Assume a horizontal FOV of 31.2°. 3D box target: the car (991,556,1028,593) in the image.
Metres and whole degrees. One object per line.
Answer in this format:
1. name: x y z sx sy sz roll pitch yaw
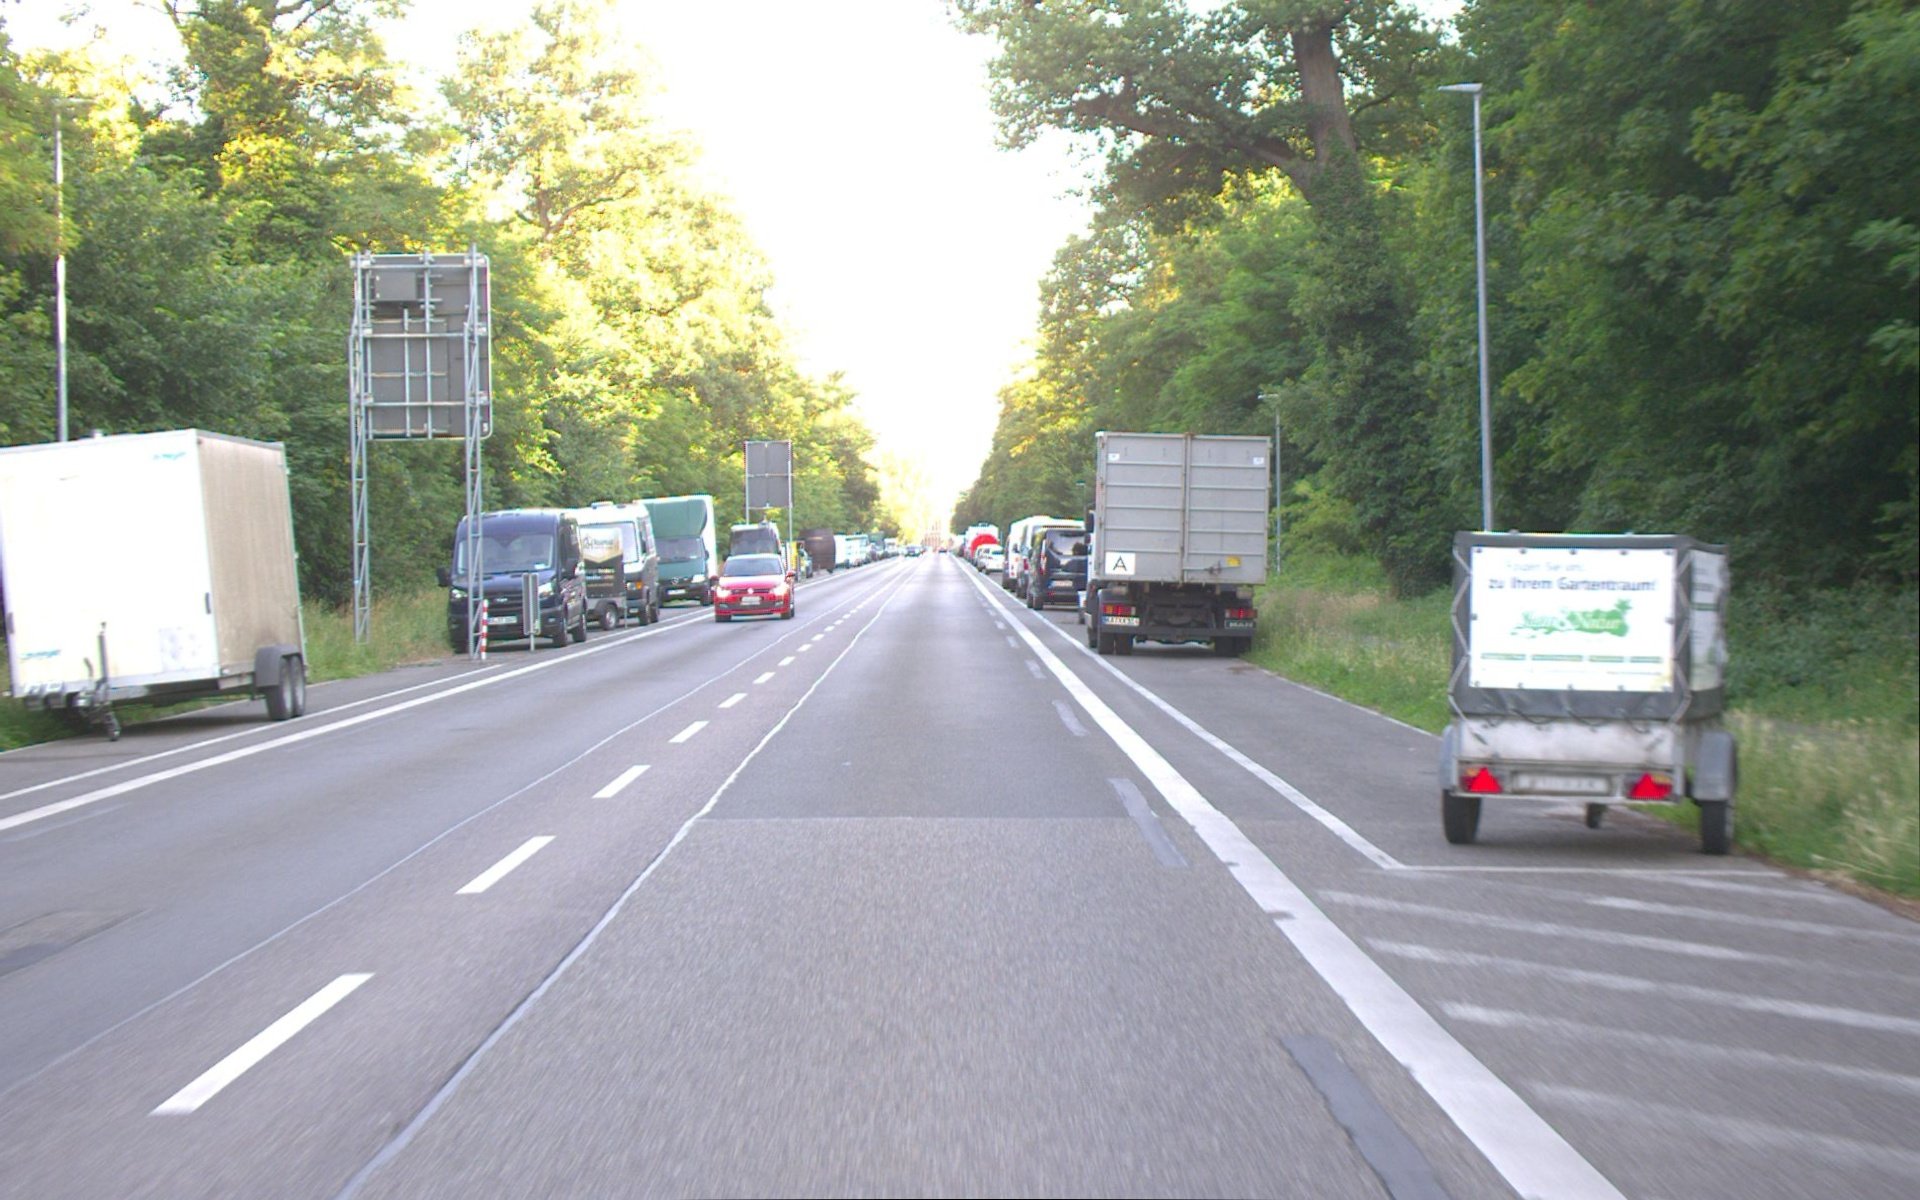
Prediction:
1. car: 1.777 -0.922 123.330 1.147 1.247 2.754 -2 1 -3

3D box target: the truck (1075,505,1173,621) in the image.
1. truck: 3.318 -0.761 70.234 1.885 2.276 4.299 0 1 2

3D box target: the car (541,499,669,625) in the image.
1. car: -7.900 -0.871 77.119 2.249 2.638 5.722 -2 1 0

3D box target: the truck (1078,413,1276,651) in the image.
1. truck: 3.102 -0.977 50.822 2.589 3.244 7.220 0 1 1

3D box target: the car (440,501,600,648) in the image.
1. car: -7.696 -0.482 60.695 1.993 2.356 5.766 -3 1 0

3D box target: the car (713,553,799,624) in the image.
1. car: -4.517 -0.287 76.639 1.682 1.481 4.038 -2 1 -1

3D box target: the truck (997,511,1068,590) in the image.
1. truck: 2.454 -1.683 117.084 2.141 2.650 4.300 0 1 -3

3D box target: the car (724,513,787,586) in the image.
1. car: -8.140 -2.027 137.334 2.186 2.779 5.334 -2 1 0

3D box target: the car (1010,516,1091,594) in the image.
1. car: 2.703 -1.355 103.998 2.141 2.306 4.300 0 1 -3

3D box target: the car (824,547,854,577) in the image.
1. car: -8.629 -2.685 244.891 1.993 2.007 4.000 -1 -1 -3

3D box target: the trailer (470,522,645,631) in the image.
1. trailer: -8.338 -0.510 71.595 1.965 2.147 3.926 -1 1 21

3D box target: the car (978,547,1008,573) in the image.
1. car: 1.909 -2.309 199.061 1.645 1.481 4.000 1 1 -1

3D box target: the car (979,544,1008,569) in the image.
1. car: 1.771 -2.308 181.977 1.427 1.218 3.412 -3 1 0

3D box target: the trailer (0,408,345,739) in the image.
1. trailer: -7.826 -0.289 34.259 2.325 2.914 5.627 -3 1 -1

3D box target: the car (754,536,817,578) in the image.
1. car: -8.459 -2.092 167.036 1.701 2.007 3.996 1 1 18

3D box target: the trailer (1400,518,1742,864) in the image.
1. trailer: 3.367 0.412 18.486 1.457 1.656 3.774 -1 1 15

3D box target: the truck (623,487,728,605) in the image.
1. truck: -8.436 -1.628 102.576 2.504 3.317 6.842 -2 1 0

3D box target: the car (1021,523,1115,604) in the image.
1. car: 2.631 -0.901 84.737 1.993 1.948 4.300 0 1 -3
